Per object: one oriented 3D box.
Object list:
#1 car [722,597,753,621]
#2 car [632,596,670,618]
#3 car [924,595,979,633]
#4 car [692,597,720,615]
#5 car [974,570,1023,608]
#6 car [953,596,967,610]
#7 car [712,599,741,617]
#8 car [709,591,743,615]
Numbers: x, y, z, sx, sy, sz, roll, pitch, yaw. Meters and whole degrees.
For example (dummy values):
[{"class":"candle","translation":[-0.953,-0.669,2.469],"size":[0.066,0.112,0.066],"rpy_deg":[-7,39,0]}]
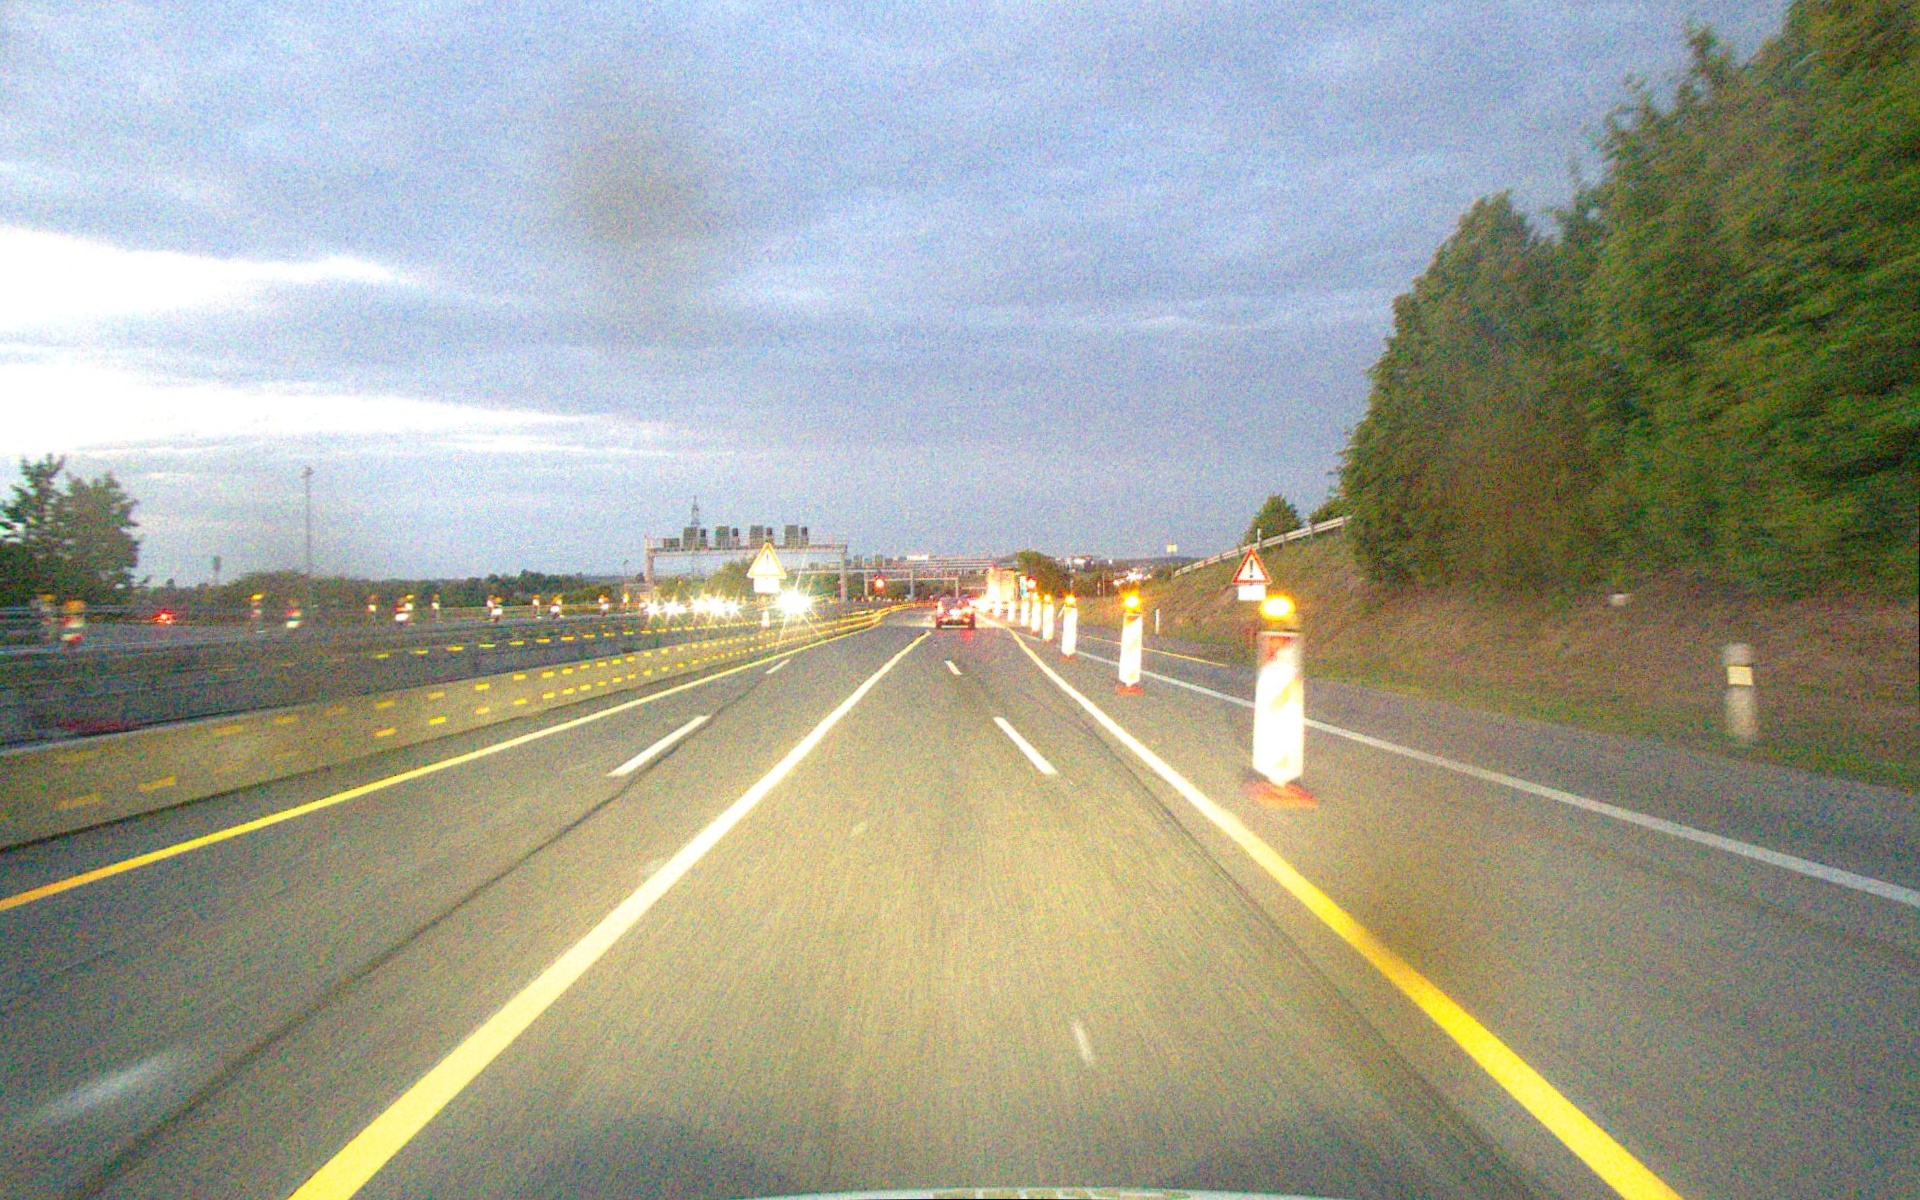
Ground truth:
[{"class":"car","translation":[-17.756,0.731,131.974],"size":[1.953,1.860,3.999],"rpy_deg":[1,0,-1]},{"class":"car","translation":[-22.018,0.521,118.134],"size":[1.953,1.489,4.134],"rpy_deg":[1,0,-1]},{"class":"car","translation":[-0.440,0.640,77.080],"size":[2.221,1.649,3.996],"rpy_deg":[1,0,-5]},{"class":"car","translation":[-22.387,0.537,145.912],"size":[1.727,1.575,4.424],"rpy_deg":[1,0,0]},{"class":"car","translation":[3.671,-1.042,160.552],"size":[3.537,3.455,8.002],"rpy_deg":[1,0,-7]},{"class":"car","translation":[-0.022,0.511,253.758],"size":[1.953,2.049,3.999],"rpy_deg":[1,0,-1]},{"class":"car","translation":[-19.265,0.650,136.701],"size":[1.727,1.489,4.689],"rpy_deg":[1,0,0]},{"class":"car","translation":[-17.668,0.257,124.936],"size":[1.953,1.744,3.999],"rpy_deg":[1,0,-1]}]
